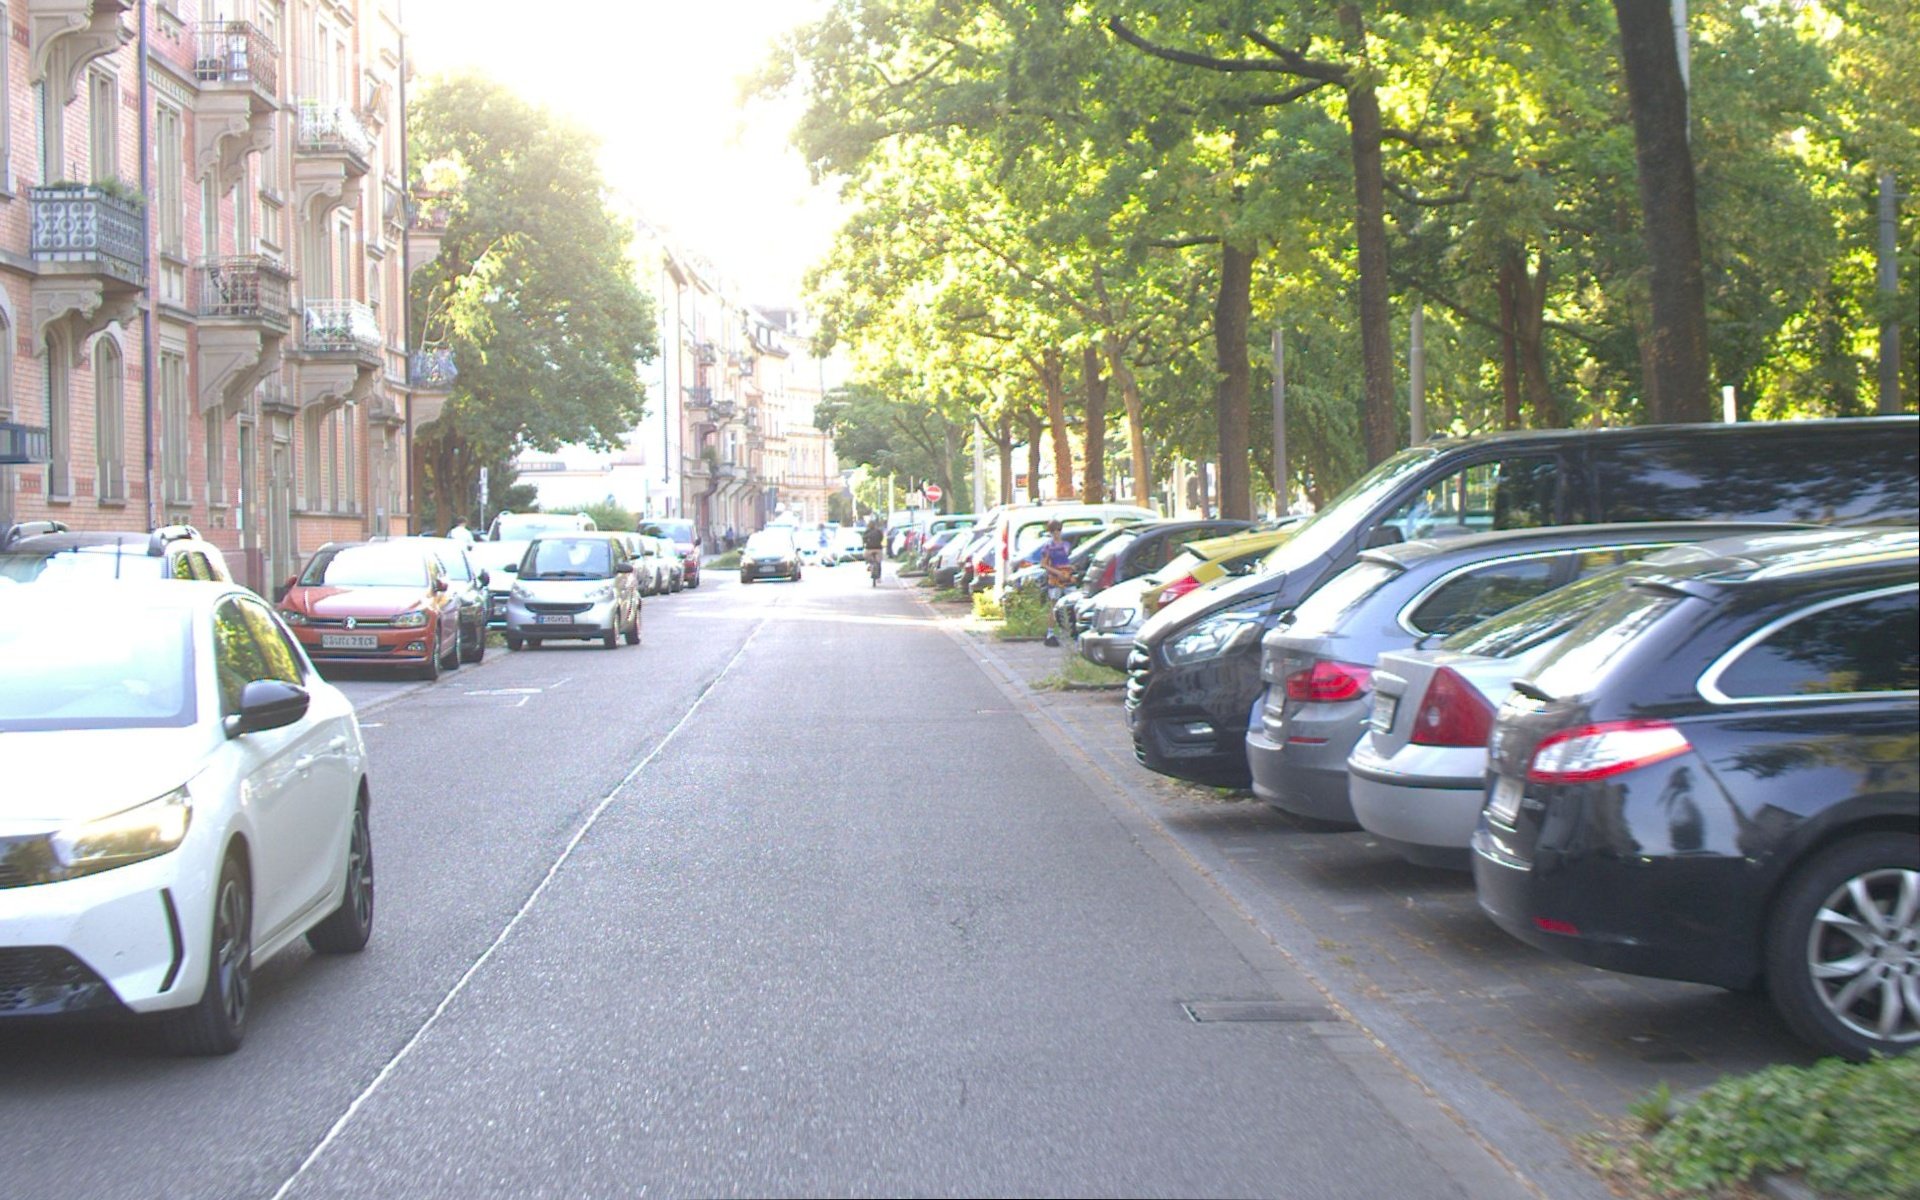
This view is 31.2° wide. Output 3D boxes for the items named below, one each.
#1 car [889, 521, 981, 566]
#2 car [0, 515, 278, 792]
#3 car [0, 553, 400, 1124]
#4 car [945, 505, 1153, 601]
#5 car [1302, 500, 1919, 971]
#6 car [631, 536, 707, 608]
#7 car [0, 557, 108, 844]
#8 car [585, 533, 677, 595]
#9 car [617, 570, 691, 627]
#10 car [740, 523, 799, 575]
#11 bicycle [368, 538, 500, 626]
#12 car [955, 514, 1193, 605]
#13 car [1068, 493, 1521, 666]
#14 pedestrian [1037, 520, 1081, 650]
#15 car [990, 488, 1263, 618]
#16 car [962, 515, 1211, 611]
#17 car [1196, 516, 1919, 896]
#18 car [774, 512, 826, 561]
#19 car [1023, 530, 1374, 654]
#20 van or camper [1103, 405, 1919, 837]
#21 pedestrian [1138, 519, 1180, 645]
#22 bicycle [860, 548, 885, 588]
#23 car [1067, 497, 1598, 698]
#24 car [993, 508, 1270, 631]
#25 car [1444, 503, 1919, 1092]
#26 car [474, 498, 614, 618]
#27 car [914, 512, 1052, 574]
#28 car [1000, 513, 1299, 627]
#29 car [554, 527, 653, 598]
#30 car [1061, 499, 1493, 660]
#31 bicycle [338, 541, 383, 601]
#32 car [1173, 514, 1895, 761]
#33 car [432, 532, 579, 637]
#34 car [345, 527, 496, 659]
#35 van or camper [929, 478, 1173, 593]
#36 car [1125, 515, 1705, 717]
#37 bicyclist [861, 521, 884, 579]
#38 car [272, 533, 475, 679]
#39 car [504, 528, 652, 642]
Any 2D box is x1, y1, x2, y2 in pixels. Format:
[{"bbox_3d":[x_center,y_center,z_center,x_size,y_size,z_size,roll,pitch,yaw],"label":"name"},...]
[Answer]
[{"bbox_3d":[-1.145,-2.621,160.243,3.988,2.007,1.999,0,-1,10],"label":"car"},{"bbox_3d":[-5.818,0.283,23.167,1.751,1.700,4.201,0,1,-2],"label":"car"},{"bbox_3d":[-3.023,0.663,11.393,1.668,1.426,4.001,-3,2,-1],"label":"car"},{"bbox_3d":[1.736,-0.940,67.958,3.987,1.685,1.859,-3,1,0],"label":"car"},{"bbox_3d":[3.563,0.436,12.722,4.399,1.572,1.664,-2,0,1],"label":"car"},{"bbox_3d":[-8.324,-0.829,98.615,1.957,2.011,4.268,0,1,-2],"label":"car"},{"bbox_3d":[-5.759,0.521,17.883,1.616,1.447,4.000,1,1,1],"label":"car"},{"bbox_3d":[-8.046,-0.905,84.420,1.756,1.461,4.268,0,1,1],"label":"car"},{"bbox_3d":[-8.265,-0.062,93.093,1.756,1.461,4.268,0,1,-2],"label":"car"},{"bbox_3d":[-5.687,-1.527,102.720,1.668,1.459,4.001,-2,1,-3],"label":"car"},{"bbox_3d":[-7.281,-0.245,47.588,1.763,1.211,0.428,0,-1,-2],"label":"bicycle"},{"bbox_3d":[2.060,-0.753,62.887,4.220,1.448,1.865,-3,1,0],"label":"car"},{"bbox_3d":[3.363,-0.211,35.175,4.399,1.585,1.838,-2,1,0],"label":"car"},{"bbox_3d":[1.222,-0.187,42.447,0.380,1.579,0.518,0,3,18],"label":"pedestrian"},{"bbox_3d":[2.649,-0.764,55.328,4.220,1.857,1.762,-3,1,0],"label":"car"},{"bbox_3d":[2.207,-0.656,59.995,4.220,1.448,1.649,-3,1,3],"label":"car"},{"bbox_3d":[3.388,0.417,15.351,4.399,1.496,1.838,-2,0,-4],"label":"car"},{"bbox_3d":[-6.278,-2.472,134.737,1.993,1.831,4.000,0,0,-3],"label":"car"},{"bbox_3d":[2.715,-0.111,39.680,3.842,1.274,1.691,-2,1,-2],"label":"car"},{"bbox_3d":[3.517,0.055,18.053,5.414,2.020,2.029,-2,2,1],"label":"van or camper"},{"bbox_3d":[2.451,-0.223,42.291,0.380,1.511,0.518,0,3,18],"label":"pedestrian"},{"bbox_3d":[-2.421,-0.877,94.884,0.641,1.096,1.944,0,0,-3],"label":"bicycle"},{"bbox_3d":[3.229,-0.032,30.397,4.399,1.585,1.838,-2,1,-2],"label":"car"},{"bbox_3d":[2.336,-0.436,47.522,3.674,1.496,1.762,-3,1,0],"label":"car"},{"bbox_3d":[3.726,0.490,10.090,4.400,1.572,1.664,-2,0,4],"label":"car"},{"bbox_3d":[-6.930,-0.660,57.710,1.993,1.914,5.040,0,0,-3],"label":"car"},{"bbox_3d":[0.665,-1.704,102.780,3.986,1.788,1.859,0,-1,-4],"label":"car"},{"bbox_3d":[2.722,-0.442,49.872,4.081,1.437,1.762,-3,1,-4],"label":"car"},{"bbox_3d":[-7.638,-0.825,73.890,1.703,1.424,3.877,1,1,0],"label":"car"},{"bbox_3d":[3.442,-0.236,37.779,4.398,1.585,1.838,-2,1,-6],"label":"car"},{"bbox_3d":[-11.709,-0.564,67.183,0.704,1.143,1.890,0,0,-5],"label":"bicycle"},{"bbox_3d":[3.720,0.227,22.813,4.399,1.435,1.838,-2,1,-2],"label":"car"},{"bbox_3d":[-6.798,-0.266,51.803,1.674,1.449,4.210,-2,1,-1],"label":"car"},{"bbox_3d":[-6.639,-0.115,42.586,1.746,1.541,4.153,1,1,-8],"label":"car"},{"bbox_3d":[1.886,-1.343,72.516,4.981,2.369,2.185,0,-1,-3],"label":"van or camper"},{"bbox_3d":[3.580,0.114,27.648,4.399,1.435,1.838,-2,1,1],"label":"car"},{"bbox_3d":[-2.418,-1.371,94.873,0.627,1.568,0.802,0,-1,-3],"label":"bicyclist"},{"bbox_3d":[-6.383,0.026,37.749,1.753,1.459,4.001,1,1,-4],"label":"car"},{"bbox_3d":[-5.122,-0.224,46.358,1.504,1.430,2.753,-2,1,3],"label":"car"}]
